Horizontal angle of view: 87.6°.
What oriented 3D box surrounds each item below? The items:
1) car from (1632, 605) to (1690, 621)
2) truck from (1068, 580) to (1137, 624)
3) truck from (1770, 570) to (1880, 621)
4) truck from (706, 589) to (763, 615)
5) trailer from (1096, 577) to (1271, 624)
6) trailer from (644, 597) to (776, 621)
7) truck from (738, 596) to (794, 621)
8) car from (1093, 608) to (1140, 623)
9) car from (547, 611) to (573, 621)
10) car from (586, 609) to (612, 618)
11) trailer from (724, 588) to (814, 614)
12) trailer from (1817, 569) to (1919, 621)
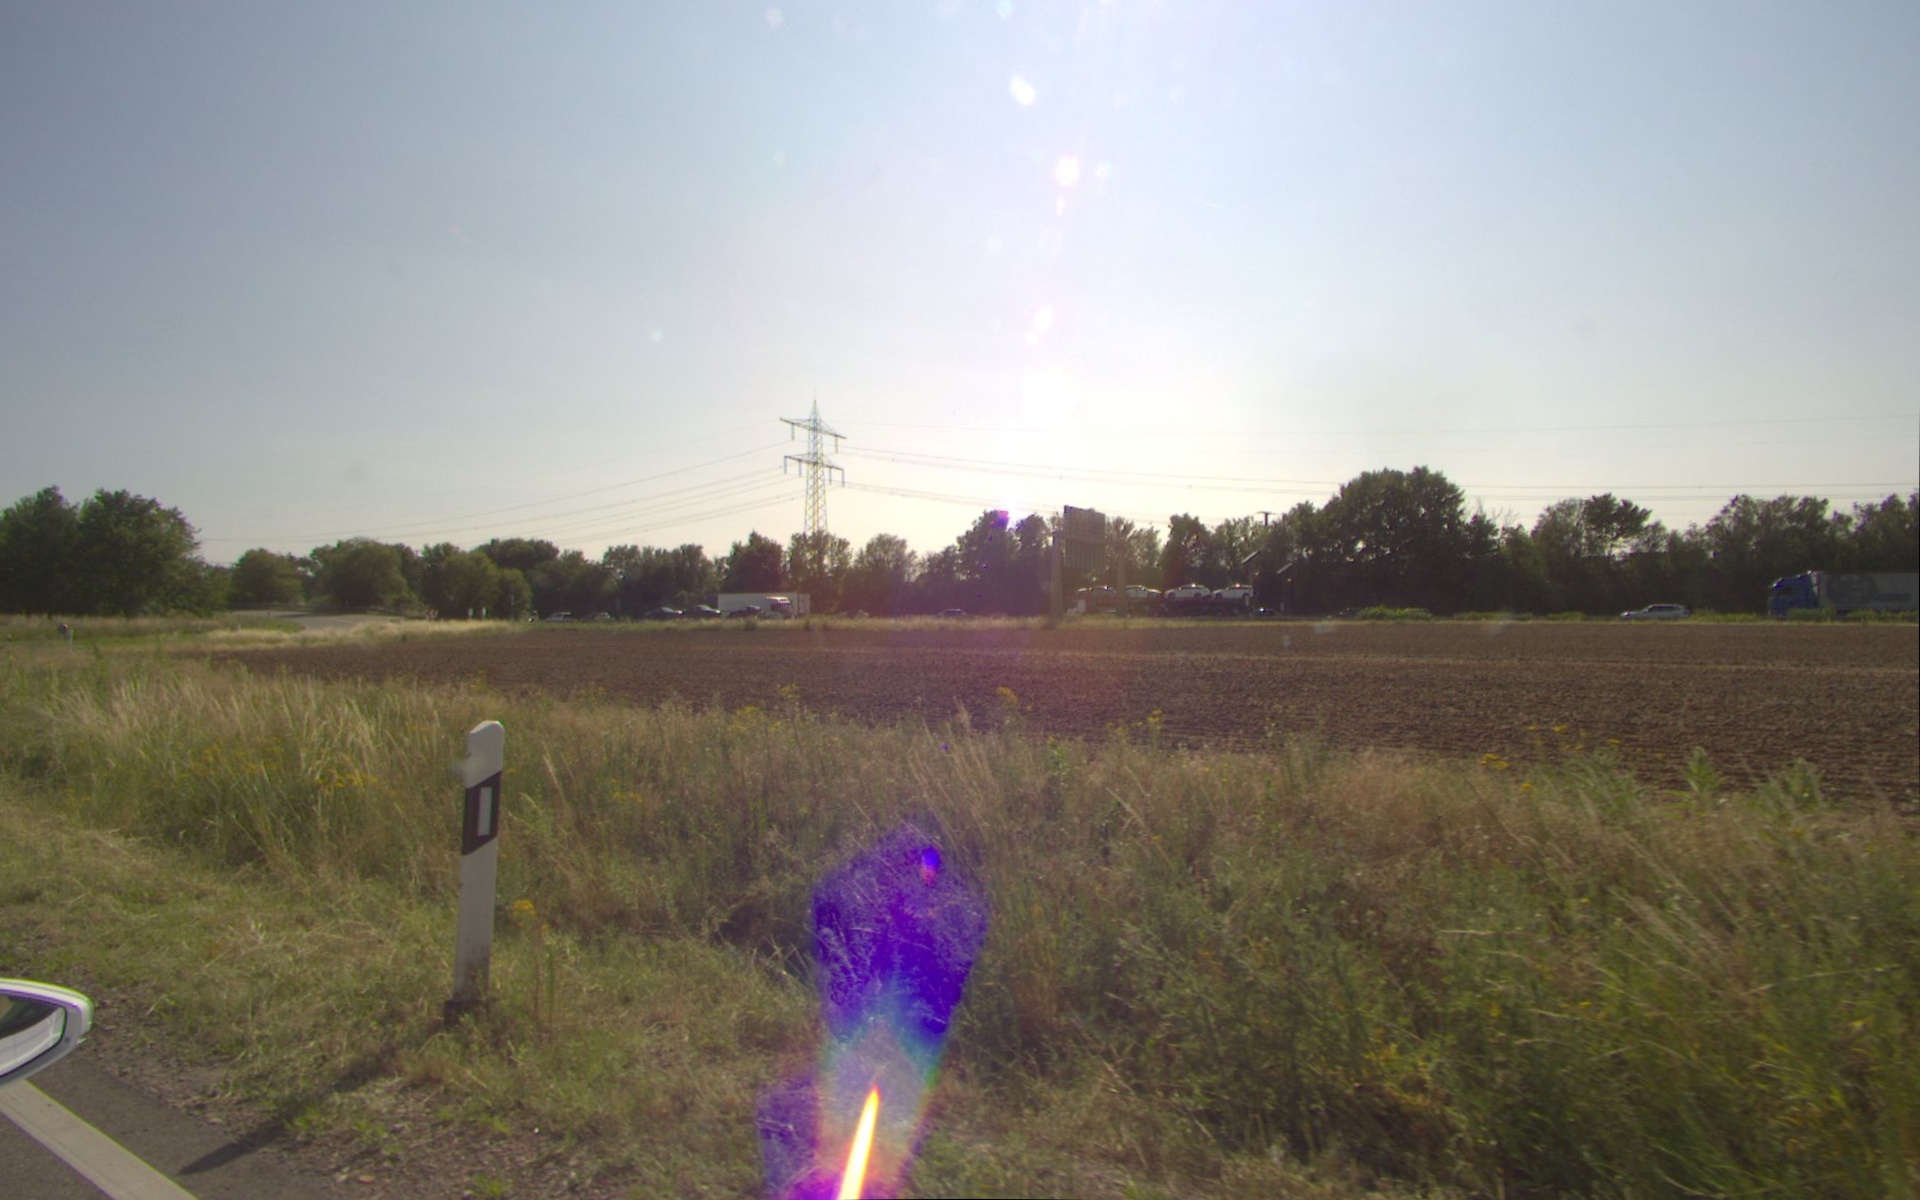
[{"bbox_3d":[53.711,0.961,76.735,3.529,1.166,1.393,0,-1,31],"label":"car"},{"bbox_3d":[15.185,0.220,106.685,6.603,4.512,3.417,-1,1,29],"label":"truck"},{"bbox_3d":[66.836,-0.290,77.558,5.999,3.782,3.066,0,0,32],"label":"truck"},{"bbox_3d":[-30.011,0.234,133.222,6.873,3.310,3.280,-1,0,29],"label":"truck"},{"bbox_3d":[22.663,0.121,102.579,17.295,4.512,3.417,-1,0,29],"label":"trailer"},{"bbox_3d":[-27.432,0.961,109.136,16.825,2.565,2.509,0,1,30],"label":"trailer"},{"bbox_3d":[-20.375,0.928,105.136,5.451,2.565,2.509,0,1,29],"label":"truck"},{"bbox_3d":[15.521,1.532,99.163,4.184,1.403,1.848,0,-1,30],"label":"car"},{"bbox_3d":[-58.940,2.357,147.707,3.571,1.390,1.769,-1,-2,31],"label":"car"},{"bbox_3d":[-48.578,1.872,134.747,3.526,1.166,1.394,0,-1,28],"label":"car"},{"bbox_3d":[-24.969,0.169,130.393,12.268,3.310,3.280,-1,0,30],"label":"trailer"},{"bbox_3d":[72.435,-0.357,74.017,13.433,3.782,3.066,0,0,32],"label":"trailer"}]
